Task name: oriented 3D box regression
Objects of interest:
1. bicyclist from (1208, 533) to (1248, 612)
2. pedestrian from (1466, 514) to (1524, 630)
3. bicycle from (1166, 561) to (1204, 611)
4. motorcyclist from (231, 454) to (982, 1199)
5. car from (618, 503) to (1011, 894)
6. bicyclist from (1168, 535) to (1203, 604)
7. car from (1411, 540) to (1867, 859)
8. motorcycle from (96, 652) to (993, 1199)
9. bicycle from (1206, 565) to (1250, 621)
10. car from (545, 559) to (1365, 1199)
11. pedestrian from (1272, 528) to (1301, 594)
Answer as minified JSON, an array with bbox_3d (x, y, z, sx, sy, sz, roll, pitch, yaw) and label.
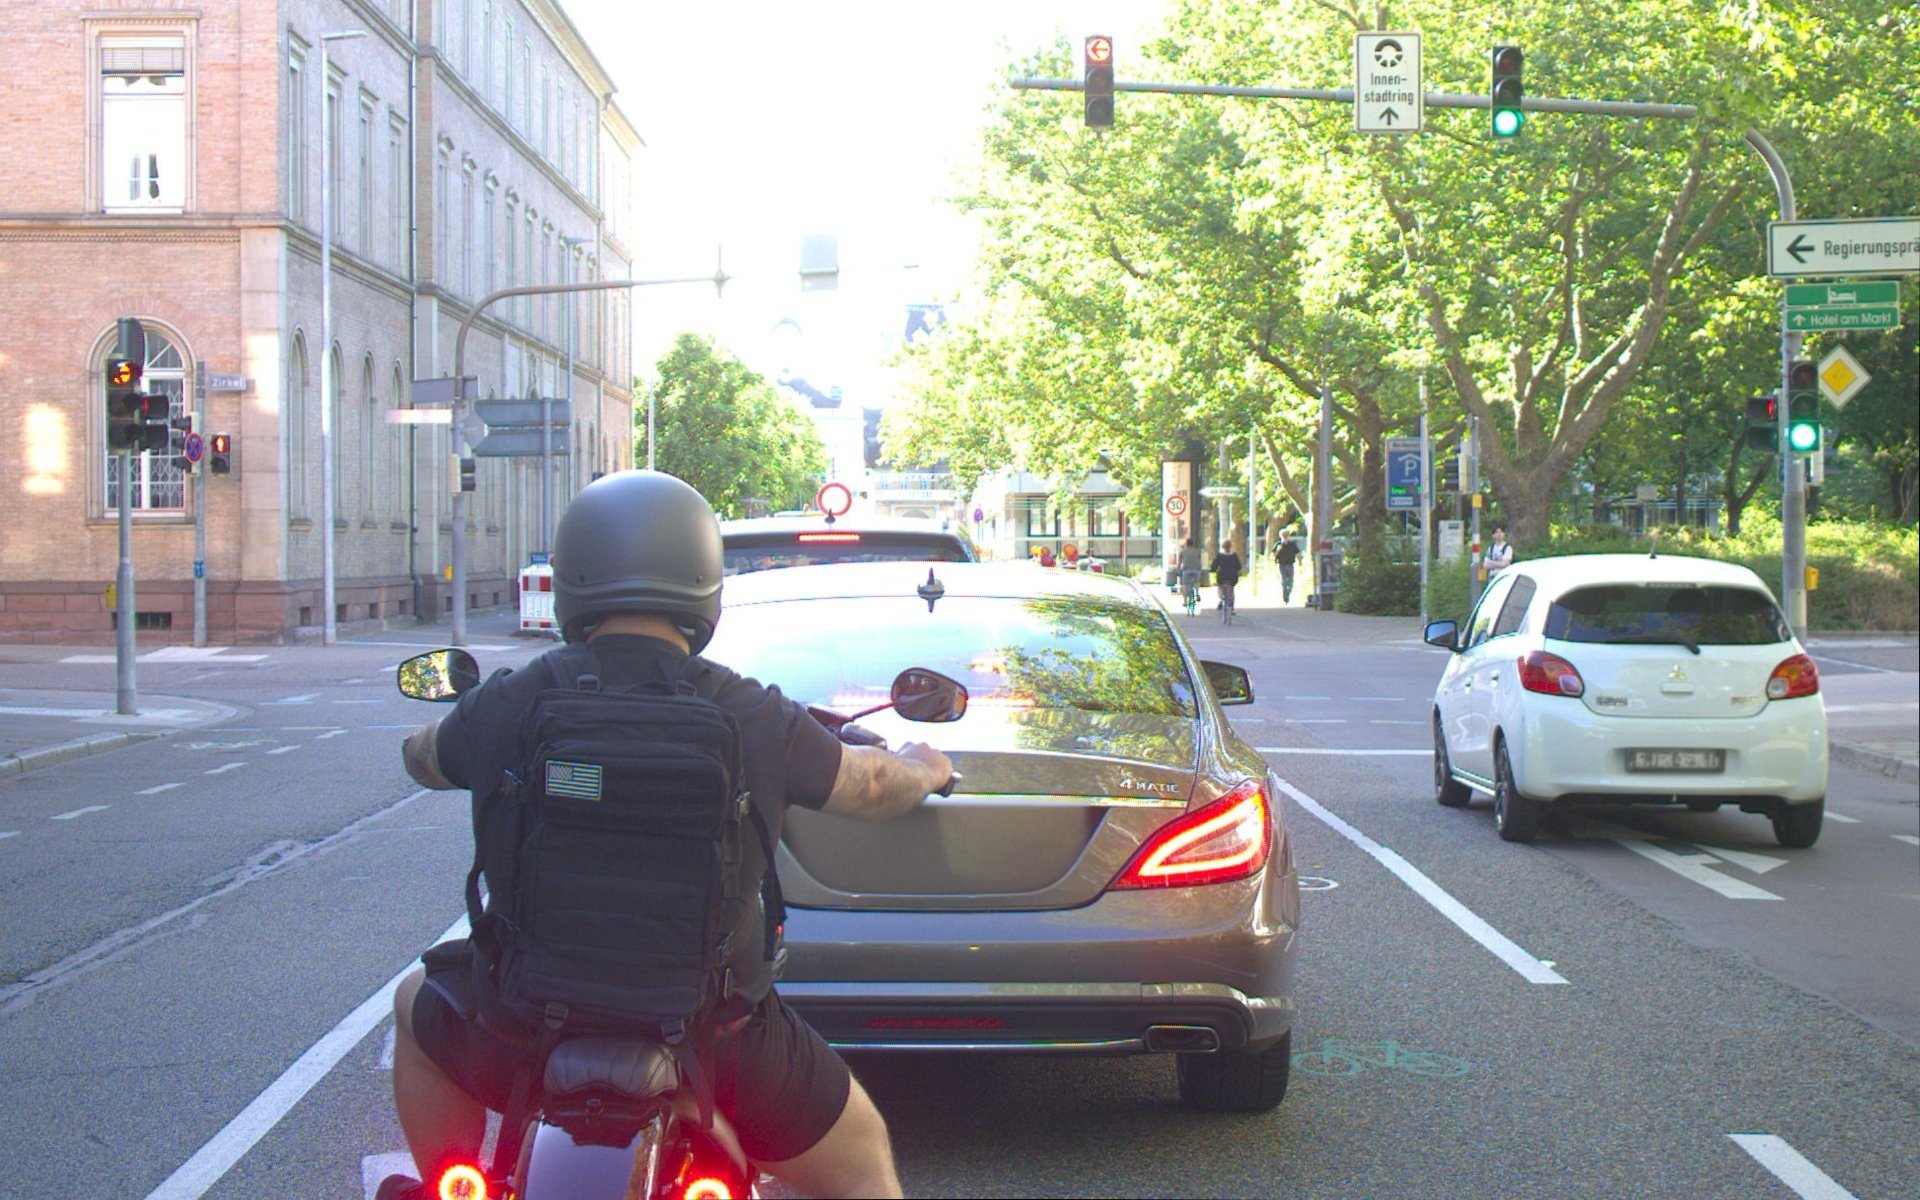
[{"bbox_3d":[5.259,-0.536,67.499,0.656,1.525,0.852,2,0,-1],"label":"bicyclist"},{"bbox_3d":[8.284,-0.430,53.205,0.570,1.768,0.625,1,1,-35],"label":"pedestrian"},{"bbox_3d":[5.057,-0.325,77.267,0.656,1.107,2.186,2,1,-1],"label":"bicycle"},{"bbox_3d":[-0.486,0.588,5.355,1.012,1.596,1.406,0,1,-1],"label":"motorcyclist"},{"bbox_3d":[-0.812,0.403,16.708,1.630,1.645,3.851,1,1,-6],"label":"car"},{"bbox_3d":[5.067,-0.679,77.255,0.656,1.525,0.906,2,0,-1],"label":"bicyclist"},{"bbox_3d":[3.512,0.460,18.406,1.679,1.493,3.685,2,1,0],"label":"car"},{"bbox_3d":[-0.487,0.777,5.231,1.012,1.302,2.673,0,1,-1],"label":"motorcycle"},{"bbox_3d":[5.247,-0.146,67.433,0.656,1.066,1.927,2,1,-1],"label":"bicycle"},{"bbox_3d":[-0.038,0.617,9.631,1.828,1.415,3.815,1,1,-1],"label":"car"},{"bbox_3d":[7.861,-0.935,82.760,0.592,1.573,0.527,2,0,0],"label":"pedestrian"}]
